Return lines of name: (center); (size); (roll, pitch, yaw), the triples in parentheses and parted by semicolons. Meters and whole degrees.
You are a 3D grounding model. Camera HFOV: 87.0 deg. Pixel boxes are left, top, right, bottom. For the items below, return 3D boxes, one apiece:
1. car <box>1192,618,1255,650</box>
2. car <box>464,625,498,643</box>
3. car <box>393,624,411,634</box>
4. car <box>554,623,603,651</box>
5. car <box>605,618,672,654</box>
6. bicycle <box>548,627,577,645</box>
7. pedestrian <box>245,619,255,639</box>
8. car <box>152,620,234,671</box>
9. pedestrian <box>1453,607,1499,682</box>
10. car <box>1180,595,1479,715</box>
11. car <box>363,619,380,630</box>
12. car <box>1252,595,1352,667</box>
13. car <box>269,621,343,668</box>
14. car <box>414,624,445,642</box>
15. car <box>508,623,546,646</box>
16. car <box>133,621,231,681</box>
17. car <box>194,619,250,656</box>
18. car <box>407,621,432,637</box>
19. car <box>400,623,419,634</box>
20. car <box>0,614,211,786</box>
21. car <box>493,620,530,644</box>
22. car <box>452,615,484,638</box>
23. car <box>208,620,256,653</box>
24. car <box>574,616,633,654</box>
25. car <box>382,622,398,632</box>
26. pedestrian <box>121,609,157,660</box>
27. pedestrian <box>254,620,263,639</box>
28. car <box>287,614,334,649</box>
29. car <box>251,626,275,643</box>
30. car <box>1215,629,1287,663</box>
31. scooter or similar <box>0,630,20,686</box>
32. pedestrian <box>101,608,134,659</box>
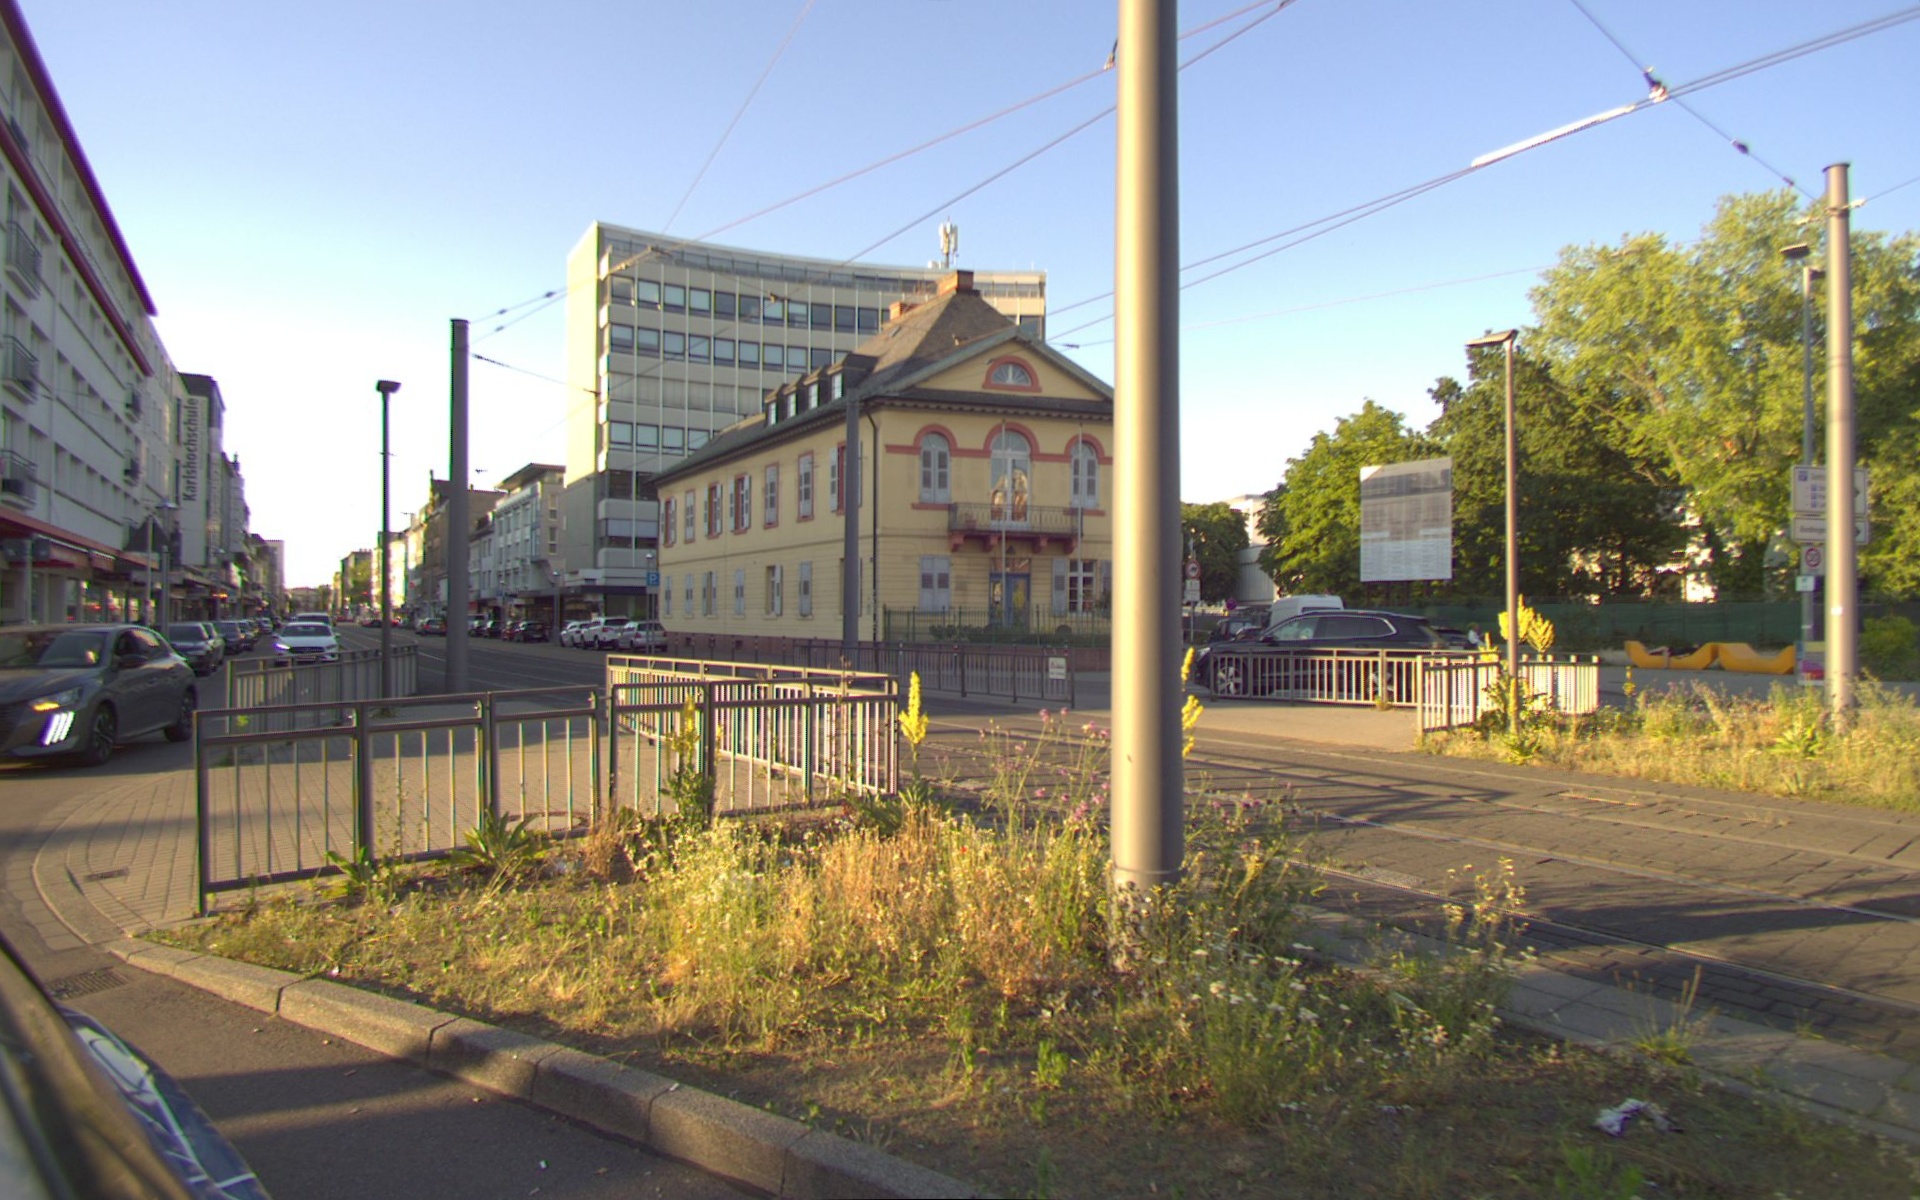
car: (13.113, 1.692, 50.638); (1.971, 1.497, 4.094); (0, -2, -1)
car: (-41.045, 2.931, 86.625); (1.966, 1.477, 4.570); (0, -1, -34)
car: (-82.282, 4.286, 149.235); (1.966, 1.564, 4.217); (1, -2, -33)
car: (-21.516, 2.084, 56.989); (1.787, 1.523, 4.445); (1, -2, -32)
car: (-15.135, 1.673, 47.540); (1.788, 1.629, 4.225); (1, -2, -36)
bicycle: (-30.757, 2.783, 78.394); (1.942, 1.436, 0.836); (2, -2, -35)
pedestrian: (-62.643, 2.580, 89.295); (0.600, 1.767, 0.606); (2, -2, -34)
car: (-24.837, 1.453, 32.903); (1.761, 1.523, 4.063); (3, -3, -33)
pedestrian: (13.343, 1.149, 26.202); (0.717, 1.907, 0.767); (0, -2, -10)
car: (6.622, 0.931, 18.324); (4.796, 1.916, 1.978); (-1, -2, 32)
car: (-88.820, 3.681, 152.749); (1.966, 1.564, 4.011); (1, -2, -33)
car: (13.477, 1.213, 40.260); (2.068, 2.650, 5.425); (0, -2, 0)
car: (-22.095, 1.457, 34.133); (1.967, 1.469, 4.010); (1, -2, -34)
car: (-46.057, 2.893, 87.806); (1.712, 1.523, 4.043); (1, -2, -37)
car: (-29.390, 2.321, 68.670); (1.663, 1.523, 4.226); (1, -2, -33)
car: (-21.524, 1.388, 28.145); (1.711, 1.523, 4.698); (3, -3, -33)
car: (-32.594, 1.650, 44.773); (1.711, 1.523, 4.315); (3, -3, -33)
car: (-52.369, 2.775, 97.995); (1.781, 1.523, 4.046); (2, -2, -32)
car: (-75.782, 3.947, 139.202); (1.966, 1.564, 4.011); (1, -2, -33)
car: (-9.786, 0.952, 10.954); (1.703, 1.533, 4.348); (0, -1, -23)
car: (-32.466, 2.309, 73.272); (1.663, 1.523, 4.226); (8, -5, -32)
car: (-45.221, 2.438, 92.961); (1.929, 1.992, 5.176); (2, -2, -34)
car: (-35.951, 1.786, 50.043); (1.766, 1.523, 4.724); (3, -3, -34)
car: (-18.306, 1.753, 51.880); (1.788, 1.799, 4.510); (-2, 0, -33)
car: (-94.335, 4.426, 167.484); (1.966, 1.564, 4.011); (1, -2, -33)
pedestrian: (-28.799, 1.215, 35.525); (0.815, 1.731, 0.845); (3, -3, -33)
pedestrian: (-62.133, 2.621, 89.659); (0.596, 1.740, 0.648); (2, -2, -34)
car: (-34.931, 1.689, 54.408); (1.967, 1.830, 4.010); (1, -2, -35)
car: (-66.256, 3.238, 96.225); (1.655, 1.554, 3.896); (3, -3, -32)
car: (13.197, 2.061, 46.127); (1.971, 1.497, 4.094); (0, -2, -1)
scooter or similar: (-21.576, 1.283, 22.569); (1.239, 1.211, 0.354); (-1, -2, 19)
pedestrian: (-29.966, 1.188, 36.002); (0.718, 1.754, 0.865); (3, -3, -33)
